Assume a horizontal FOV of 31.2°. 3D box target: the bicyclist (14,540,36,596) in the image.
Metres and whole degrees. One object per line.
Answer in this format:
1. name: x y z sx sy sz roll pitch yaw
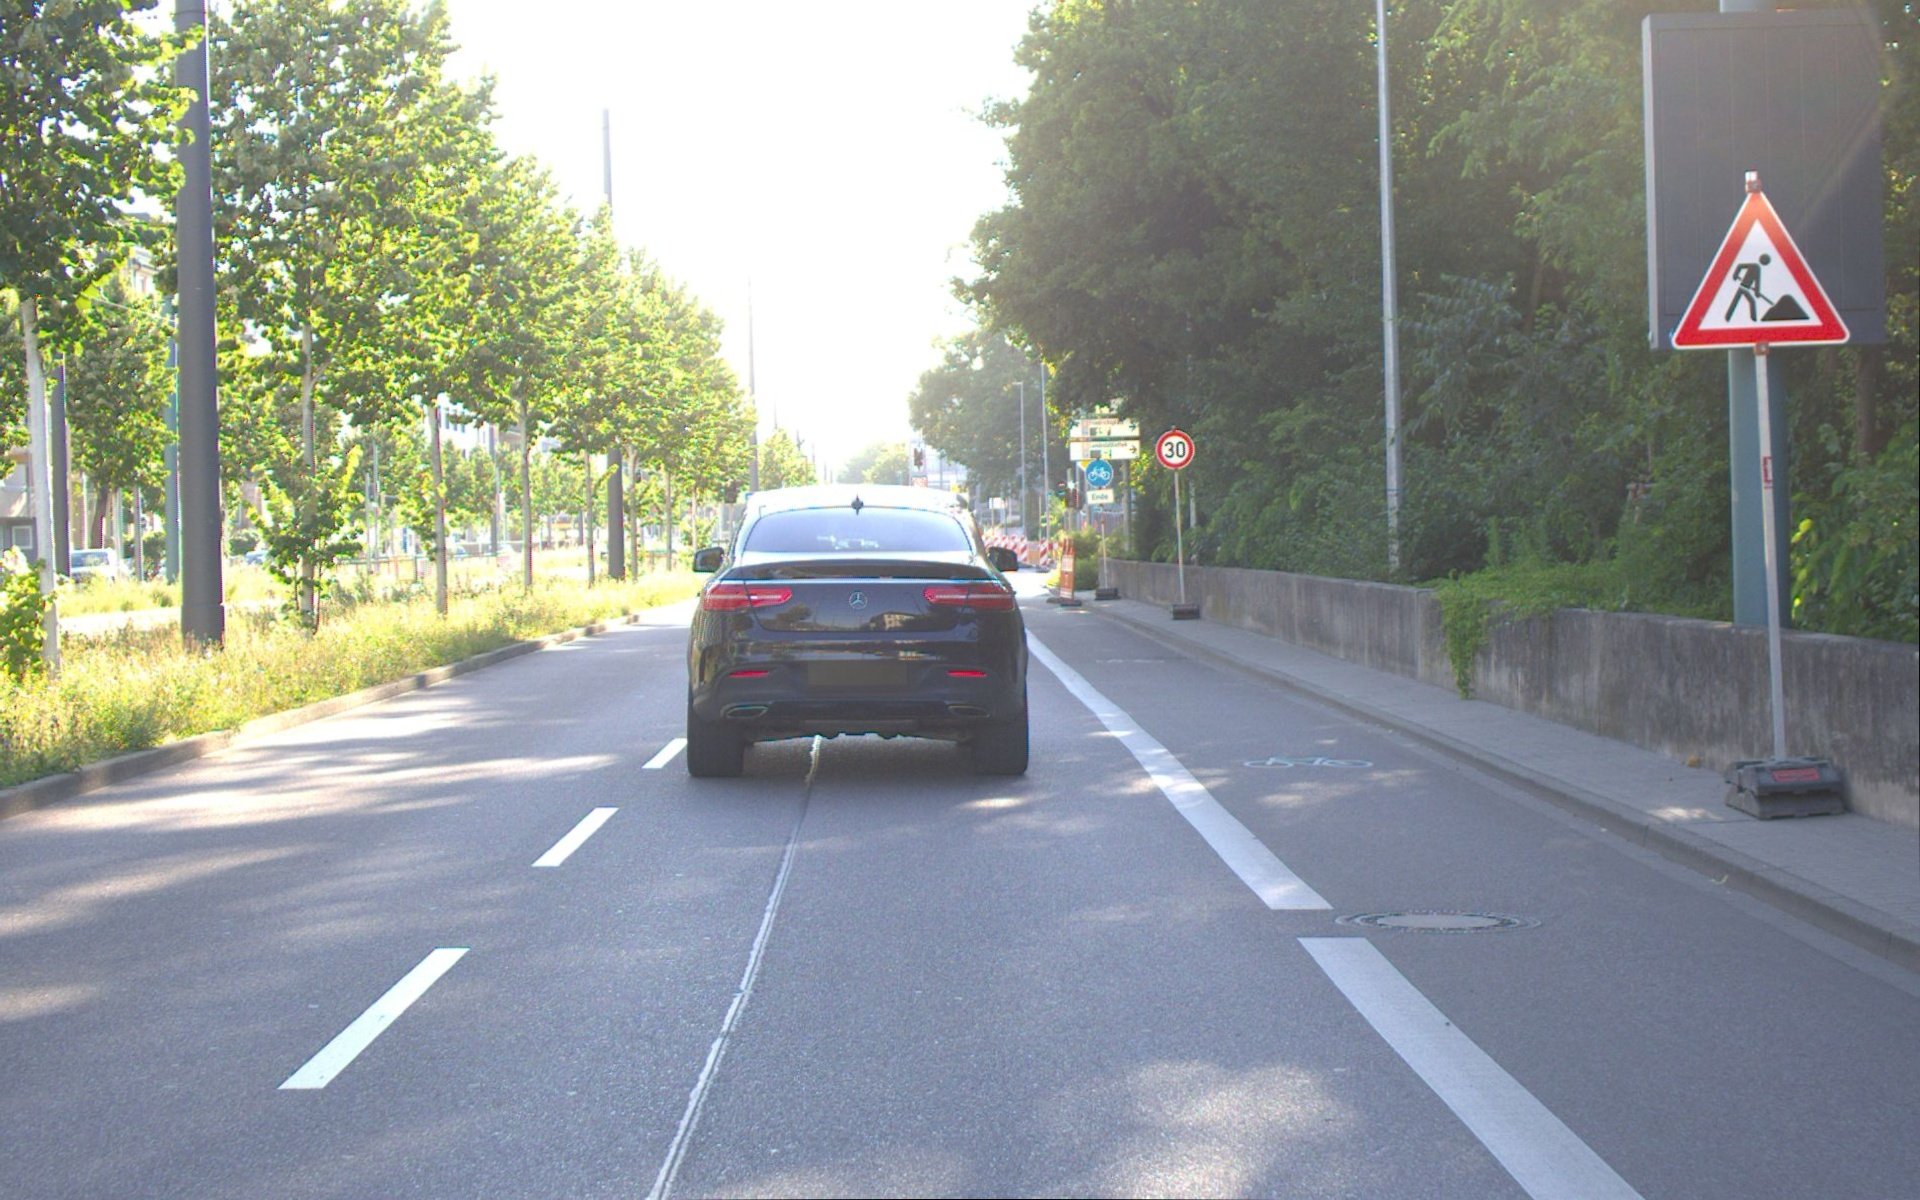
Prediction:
1. bicyclist: -30.375 -1.042 111.669 0.540 1.782 0.858 0 1 -4

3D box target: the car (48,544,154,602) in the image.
1. car: -26.419 -0.856 105.866 1.885 1.683 5.089 0 1 1

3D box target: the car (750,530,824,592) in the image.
1. car: -4.683 -1.081 93.561 1.885 1.575 4.001 0 2 -1

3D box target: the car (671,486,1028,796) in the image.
1. car: -0.671 0.180 21.316 1.993 1.728 4.001 0 1 -1
